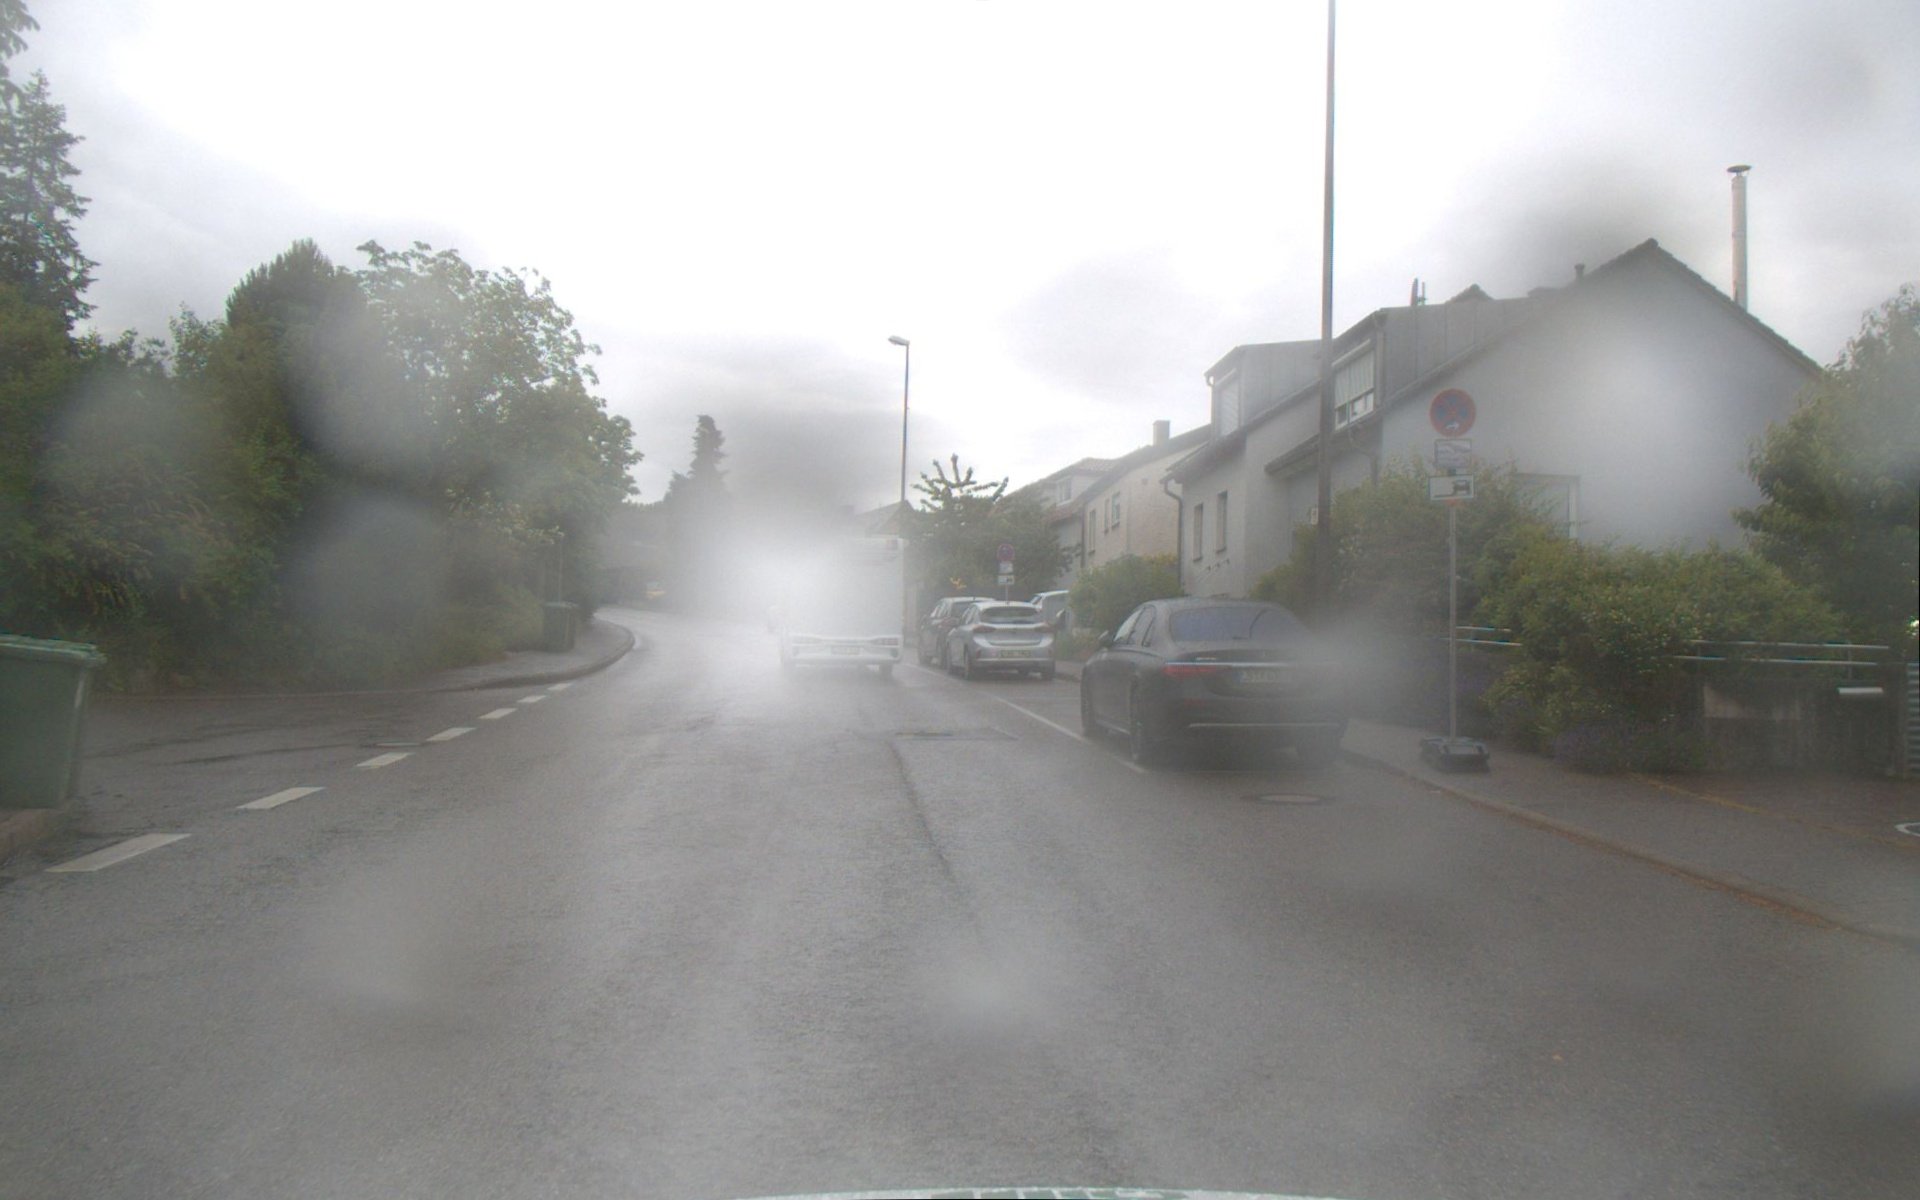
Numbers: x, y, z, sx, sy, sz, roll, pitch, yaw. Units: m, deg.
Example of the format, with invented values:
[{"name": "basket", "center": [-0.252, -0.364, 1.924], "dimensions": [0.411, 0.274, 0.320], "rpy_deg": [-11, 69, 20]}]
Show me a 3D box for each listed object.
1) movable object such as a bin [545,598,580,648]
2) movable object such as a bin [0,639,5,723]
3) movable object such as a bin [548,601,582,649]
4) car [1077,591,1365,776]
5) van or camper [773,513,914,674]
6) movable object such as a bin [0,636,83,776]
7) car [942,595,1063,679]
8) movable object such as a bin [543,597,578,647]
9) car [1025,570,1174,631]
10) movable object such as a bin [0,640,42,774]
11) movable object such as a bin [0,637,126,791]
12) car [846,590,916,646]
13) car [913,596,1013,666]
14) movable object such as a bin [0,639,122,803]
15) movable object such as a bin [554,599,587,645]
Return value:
[{"name": "movable object such as a bin", "center": [-9.126, 0.525, 37.958], "dimensions": [0.755, 1.116, 0.735], "rpy_deg": [0, 0, -14]}, {"name": "movable object such as a bin", "center": [-8.570, 0.827, 13.817], "dimensions": [0.706, 1.045, 0.776], "rpy_deg": [2, -2, 38]}, {"name": "movable object such as a bin", "center": [-9.251, 0.572, 38.751], "dimensions": [0.755, 1.116, 0.669], "rpy_deg": [0, 0, -14]}, {"name": "car", "center": [2.431, 0.703, 16.783], "dimensions": [1.821, 1.553, 5.060], "rpy_deg": [-1, 0, -4]}, {"name": "van or camper", "center": [-2.510, -0.115, 33.976], "dimensions": [2.492, 2.976, 5.938], "rpy_deg": [1, 0, -7]}, {"name": "movable object such as a bin", "center": [-7.436, 0.815, 12.907], "dimensions": [0.706, 1.045, 0.776], "rpy_deg": [2, -2, 38]}, {"name": "car", "center": [0.766, 0.669, 32.379], "dimensions": [1.735, 1.493, 4.228], "rpy_deg": [-1, 0, -7]}, {"name": "movable object such as a bin", "center": [-8.975, 0.498, 37.197], "dimensions": [0.755, 1.116, 0.735], "rpy_deg": [0, 0, -14]}, {"name": "car", "center": [3.935, 0.037, 47.003], "dimensions": [3.911, 1.617, 1.932], "rpy_deg": [1, -1, -8]}, {"name": "movable object such as a bin", "center": [-8.010, 0.850, 13.362], "dimensions": [0.706, 1.045, 0.776], "rpy_deg": [2, -2, 38]}, {"name": "movable object such as a bin", "center": [-6.456, 0.811, 11.866], "dimensions": [0.769, 1.045, 0.712], "rpy_deg": [4, -2, -29]}, {"name": "car", "center": [-2.538, 0.519, 52.075], "dimensions": [1.771, 1.655, 4.279], "rpy_deg": [-1, 0, -9]}, {"name": "car", "center": [0.015, 0.663, 37.644], "dimensions": [1.629, 1.493, 3.754], "rpy_deg": [-1, 0, -10]}, {"name": "movable object such as a bin", "center": [-6.148, 0.808, 11.197], "dimensions": [0.769, 1.045, 0.712], "rpy_deg": [4, -2, -29]}, {"name": "movable object such as a bin", "center": [-9.301, 0.523, 39.480], "dimensions": [0.755, 1.086, 0.688], "rpy_deg": [0, 0, -14]}]
